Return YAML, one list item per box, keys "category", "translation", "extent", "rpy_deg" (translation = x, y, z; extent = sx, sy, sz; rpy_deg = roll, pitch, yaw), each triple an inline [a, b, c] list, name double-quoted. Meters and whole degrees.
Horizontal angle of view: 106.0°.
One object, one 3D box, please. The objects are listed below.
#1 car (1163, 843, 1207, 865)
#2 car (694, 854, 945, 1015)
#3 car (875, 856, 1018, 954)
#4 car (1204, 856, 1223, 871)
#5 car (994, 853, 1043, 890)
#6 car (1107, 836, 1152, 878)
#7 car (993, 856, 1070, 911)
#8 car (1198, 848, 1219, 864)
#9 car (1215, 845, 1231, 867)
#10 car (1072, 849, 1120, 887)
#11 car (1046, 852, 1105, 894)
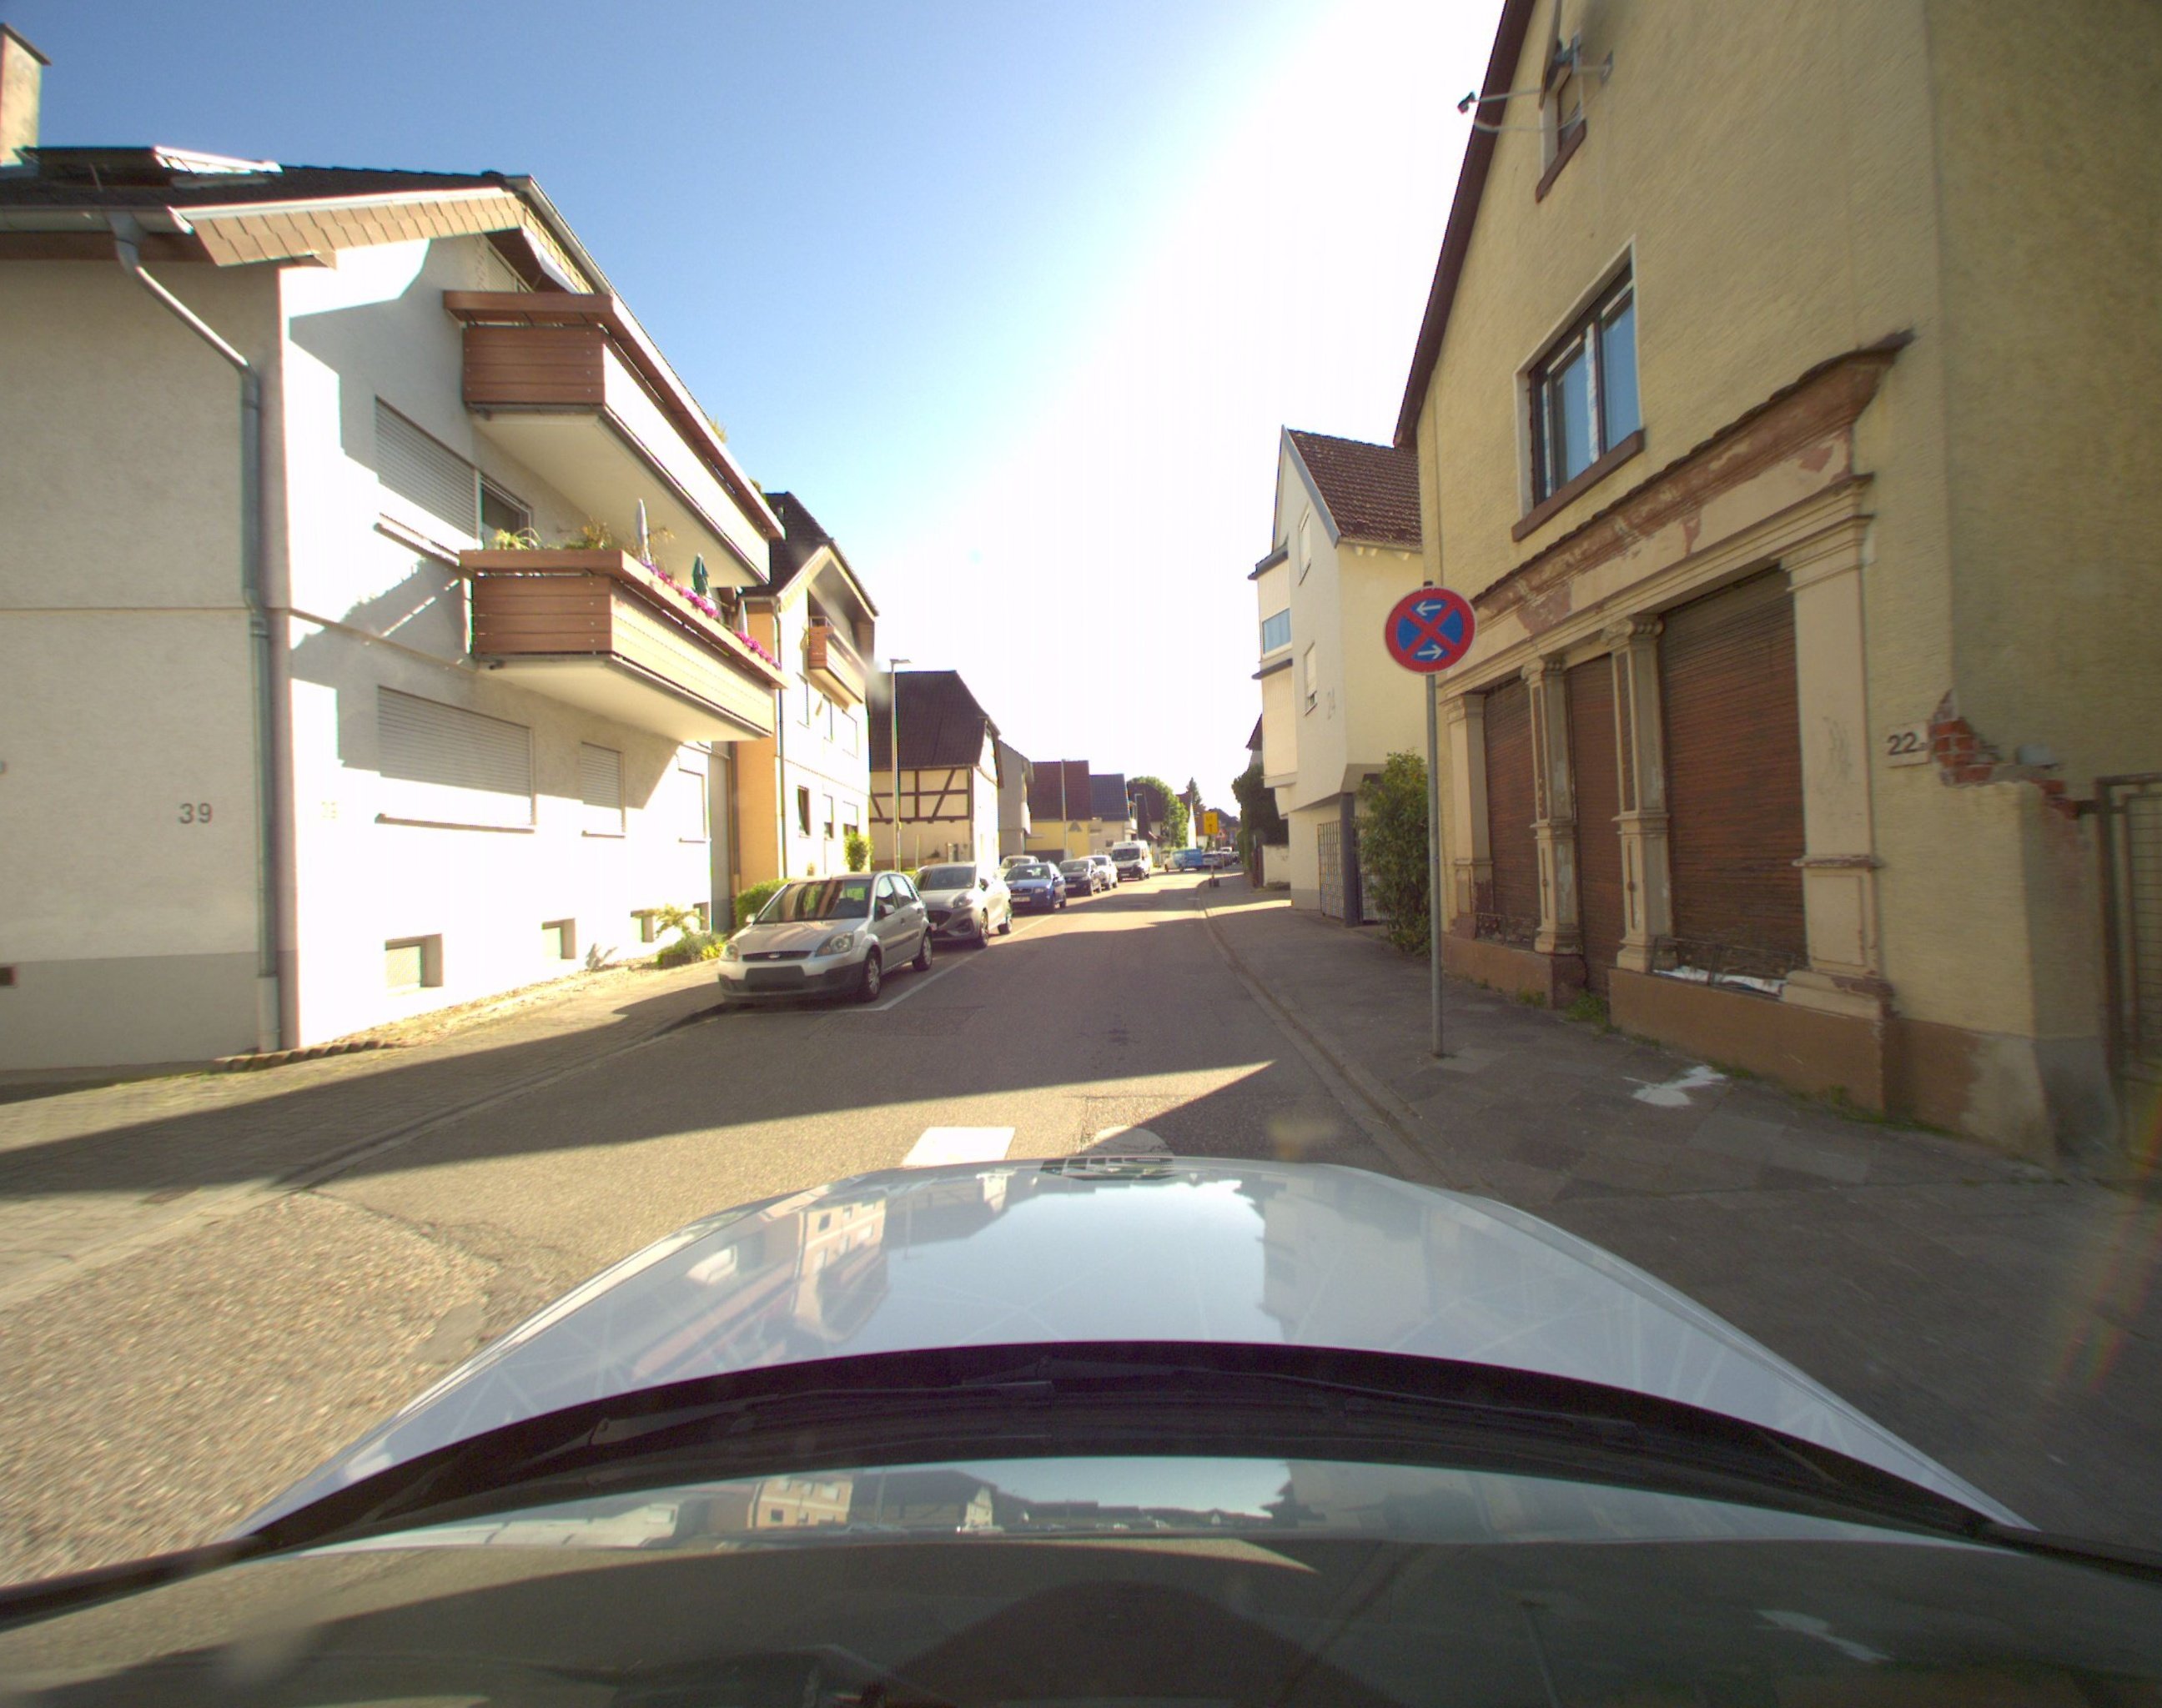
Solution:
- category: "car"
  translation: [9.014, 0.025, 70.867]
  extent: [1.925, 1.801, 4.752]
  rpy_deg: [-4, 0, -17]
- category: "car"
  translation: [-3.026, 0.835, 10.323]
  extent: [1.624, 1.505, 3.856]
  rpy_deg: [-5, 0, 3]
- category: "car"
  translation: [-2.361, 0.841, 15.394]
  extent: [1.666, 1.506, 4.099]
  rpy_deg: [-3, 0, 4]
- category: "car"
  translation: [13.316, 0.971, 81.950]
  extent: [1.834, 1.413, 4.008]
  rpy_deg: [0, -2, 7]
- category: "car"
  translation: [-2.870, 0.778, 38.222]
  extent: [1.714, 1.596, 4.021]
  rpy_deg: [0, 0, 4]
- category: "car"
  translation: [3.084, 0.166, 51.086]
  extent: [2.064, 2.394, 5.223]
  rpy_deg: [-4, -1, 10]
- category: "car"
  translation: [-1.391, 0.818, 24.286]
  extent: [1.631, 1.441, 4.080]
  rpy_deg: [-3, -1, 5]
- category: "car"
  translation: [11.782, 0.201, 75.332]
  extent: [1.834, 1.413, 4.008]
  rpy_deg: [0, -2, 7]
- category: "car"
  translation: [17.524, 0.267, 100.348]
  extent: [1.832, 2.639, 4.012]
  rpy_deg: [0, -2, 11]
- category: "car"
  translation: [0.747, 0.619, 38.145]
  extent: [1.664, 1.572, 3.975]
  rpy_deg: [-4, 0, 8]
- category: "car"
  translation: [-0.171, 0.748, 33.794]
  extent: [1.693, 1.518, 4.132]
  rpy_deg: [-4, -1, 9]
